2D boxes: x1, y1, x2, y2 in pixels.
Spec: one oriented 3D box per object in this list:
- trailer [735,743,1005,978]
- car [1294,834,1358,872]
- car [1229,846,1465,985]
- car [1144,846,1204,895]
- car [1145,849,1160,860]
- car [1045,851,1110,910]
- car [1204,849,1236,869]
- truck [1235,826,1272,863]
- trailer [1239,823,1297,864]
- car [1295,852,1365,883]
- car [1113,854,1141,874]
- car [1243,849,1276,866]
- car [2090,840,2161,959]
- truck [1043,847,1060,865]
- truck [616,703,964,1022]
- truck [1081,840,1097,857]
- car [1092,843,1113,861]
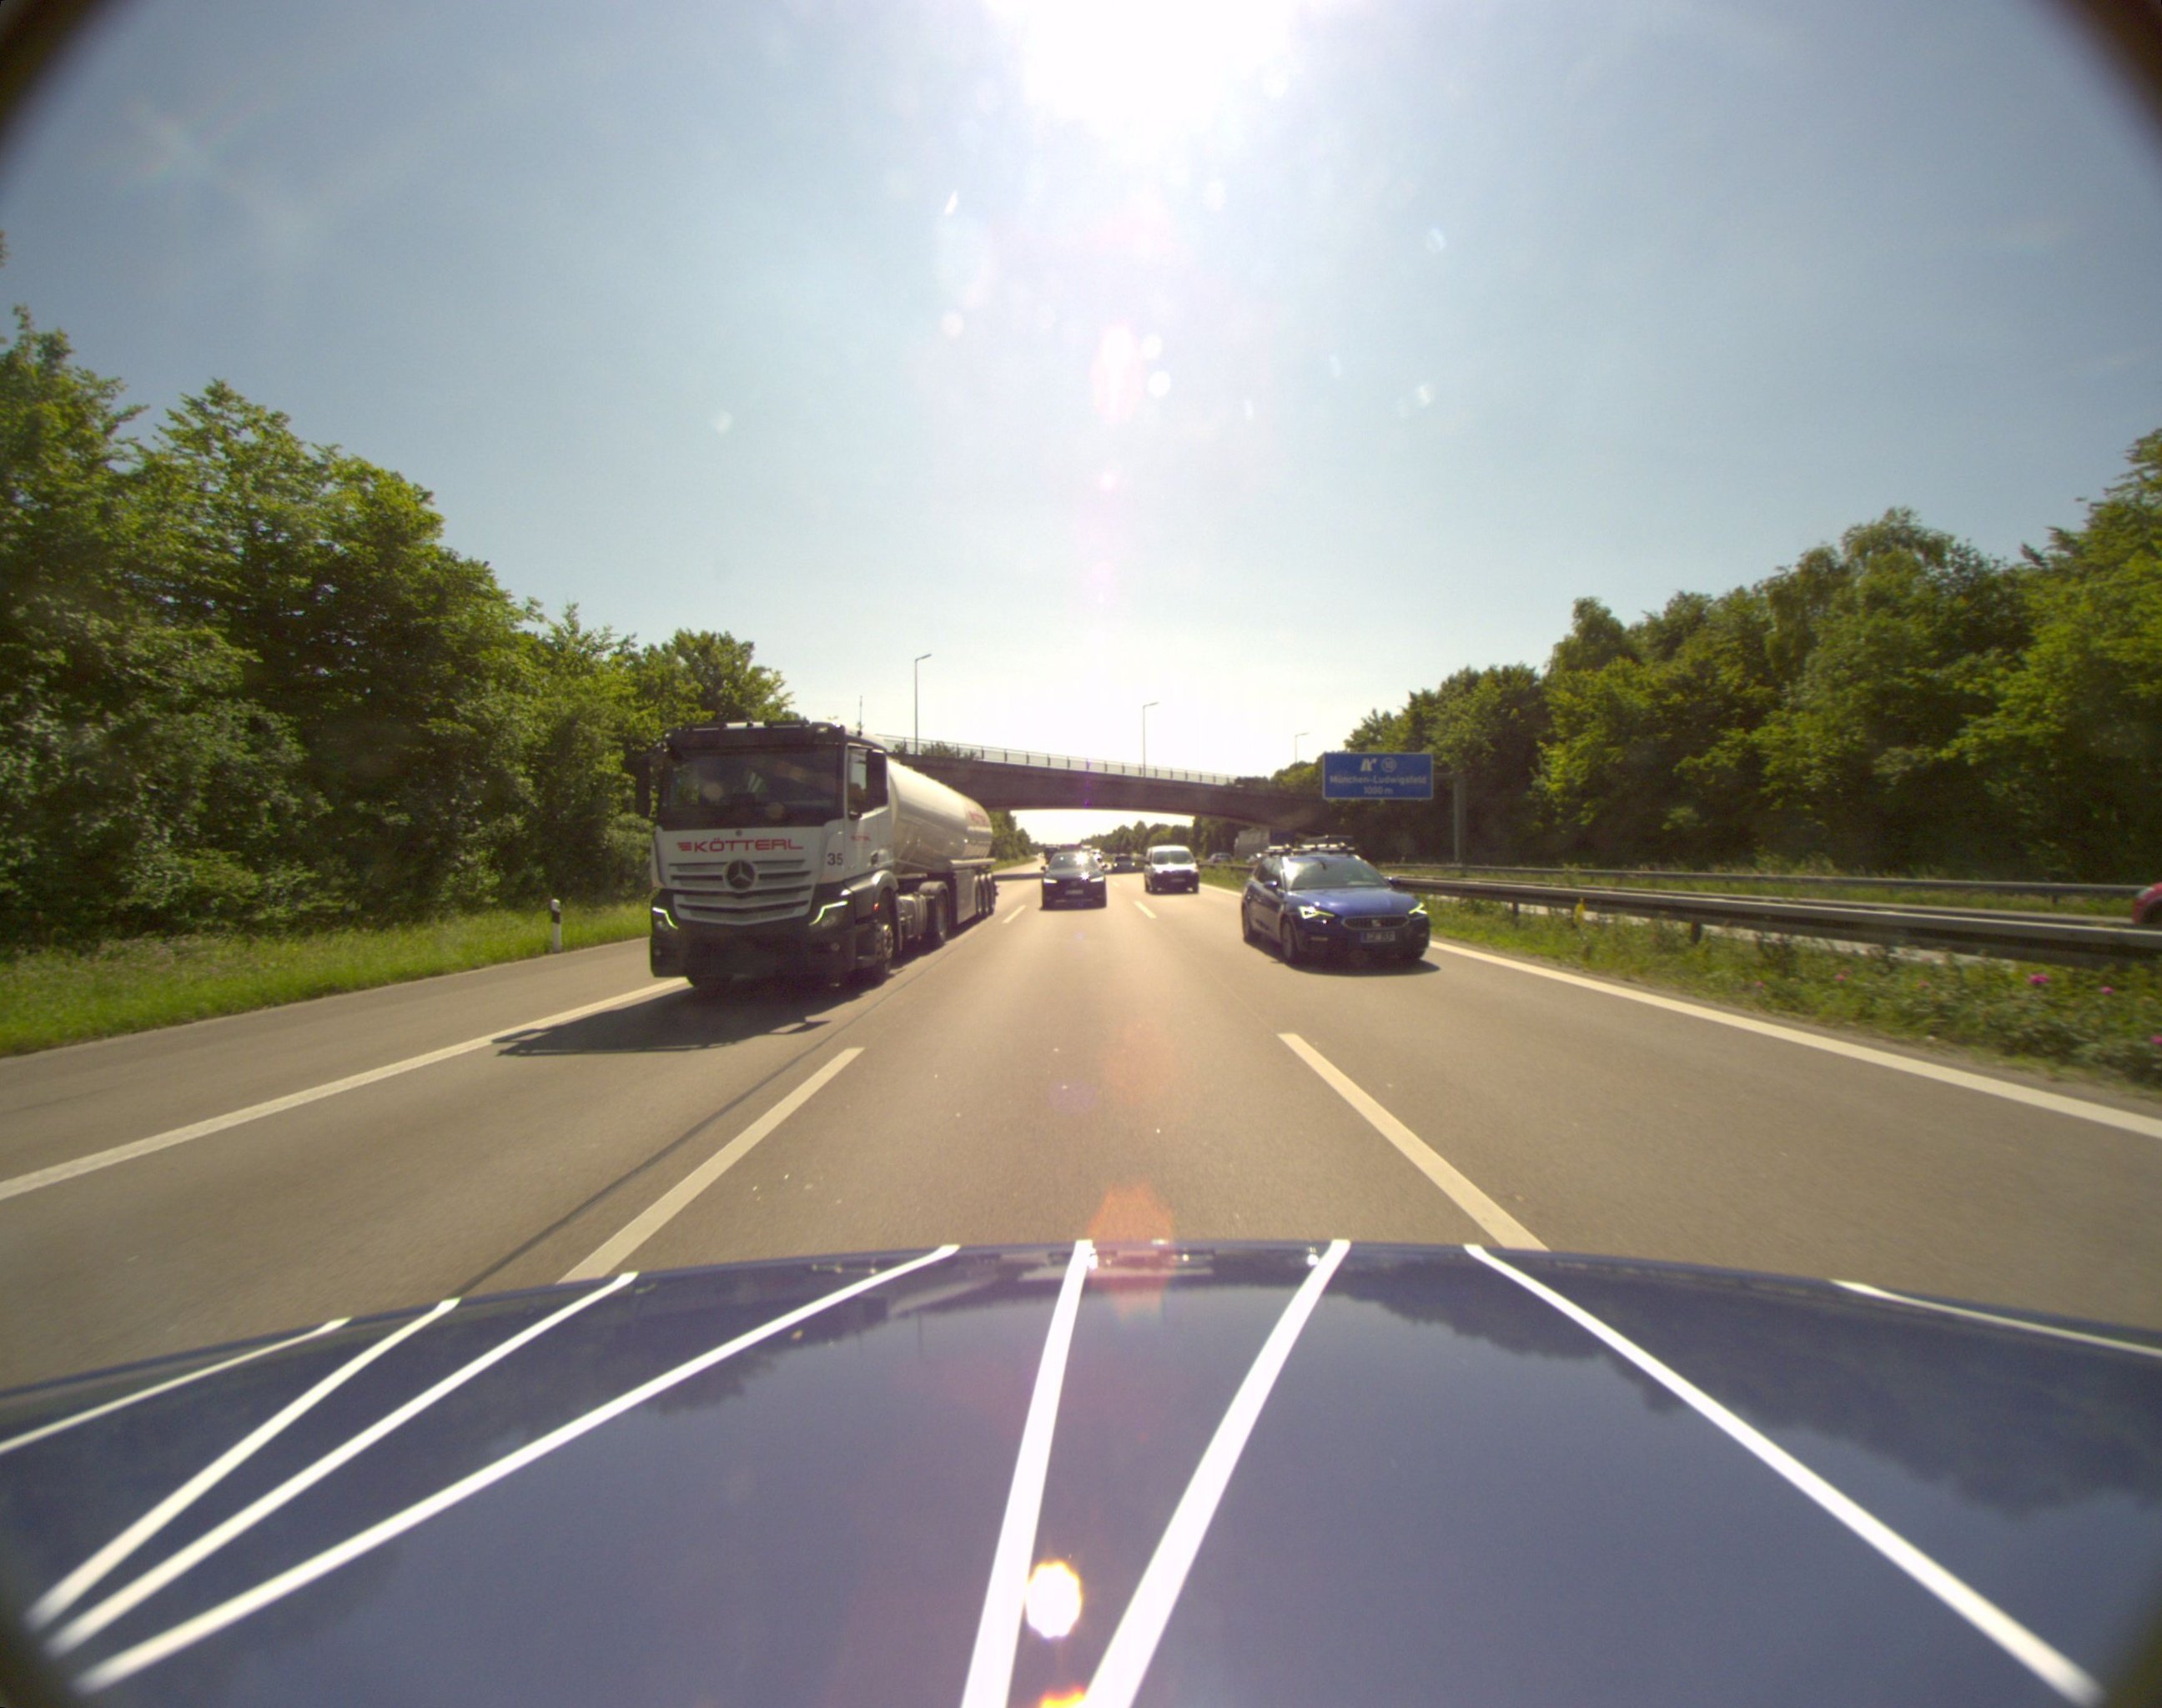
[{"bbox_3d":[-3.655,0.065,16.751,2.655,3.370,11.150,-2,0,0],"label":"trailer"},{"bbox_3d":[15.510,-0.130,48.532,1.998,2.222,6.516,-1,1,0],"label":"car"},{"bbox_3d":[3.631,0.739,11.294,1.905,1.616,4.239,-2,0,-1],"label":"car"},{"bbox_3d":[3.540,0.579,29.528,1.870,1.713,3.980,-1,1,1],"label":"car"},{"bbox_3d":[11.449,0.071,121.712,1.999,1.740,4.328,-1,0,0],"label":"car"},{"bbox_3d":[-0.163,0.750,23.754,1.812,1.648,3.999,-2,0,-2],"label":"car"},{"bbox_3d":[11.523,0.386,63.243,1.909,1.526,4.000,0,0,1],"label":"car"},{"bbox_3d":[19.742,-1.040,87.458,2.792,4.037,6.209,1,0,0],"label":"truck"},{"bbox_3d":[19.769,-1.034,81.271,2.792,4.017,13.546,1,0,0],"label":"trailer"},{"bbox_3d":[11.655,0.586,35.888,1.729,1.367,4.544,-1,0,-1],"label":"car"},{"bbox_3d":[3.744,0.804,62.709,1.999,1.540,3.998,-1,1,-1],"label":"car"},{"bbox_3d":[15.549,0.302,66.466,1.729,1.367,4.544,-1,0,-1],"label":"car"},{"bbox_3d":[15.744,0.657,9.009,1.867,1.620,4.320,-1,1,2],"label":"car"},{"bbox_3d":[-5.568,0.363,142.782,2.966,3.388,8.045,0,1,-3],"label":"truck"},{"bbox_3d":[-3.637,0.079,11.459,2.645,3.355,6.486,-2,0,0],"label":"truck"},{"bbox_3d":[1.780,-1.144,170.321,3.243,3.684,10.933,-1,0,-1],"label":"truck"},{"bbox_3d":[3.720,-0.373,131.682,3.243,3.094,7.603,-1,0,-1],"label":"car"}]
